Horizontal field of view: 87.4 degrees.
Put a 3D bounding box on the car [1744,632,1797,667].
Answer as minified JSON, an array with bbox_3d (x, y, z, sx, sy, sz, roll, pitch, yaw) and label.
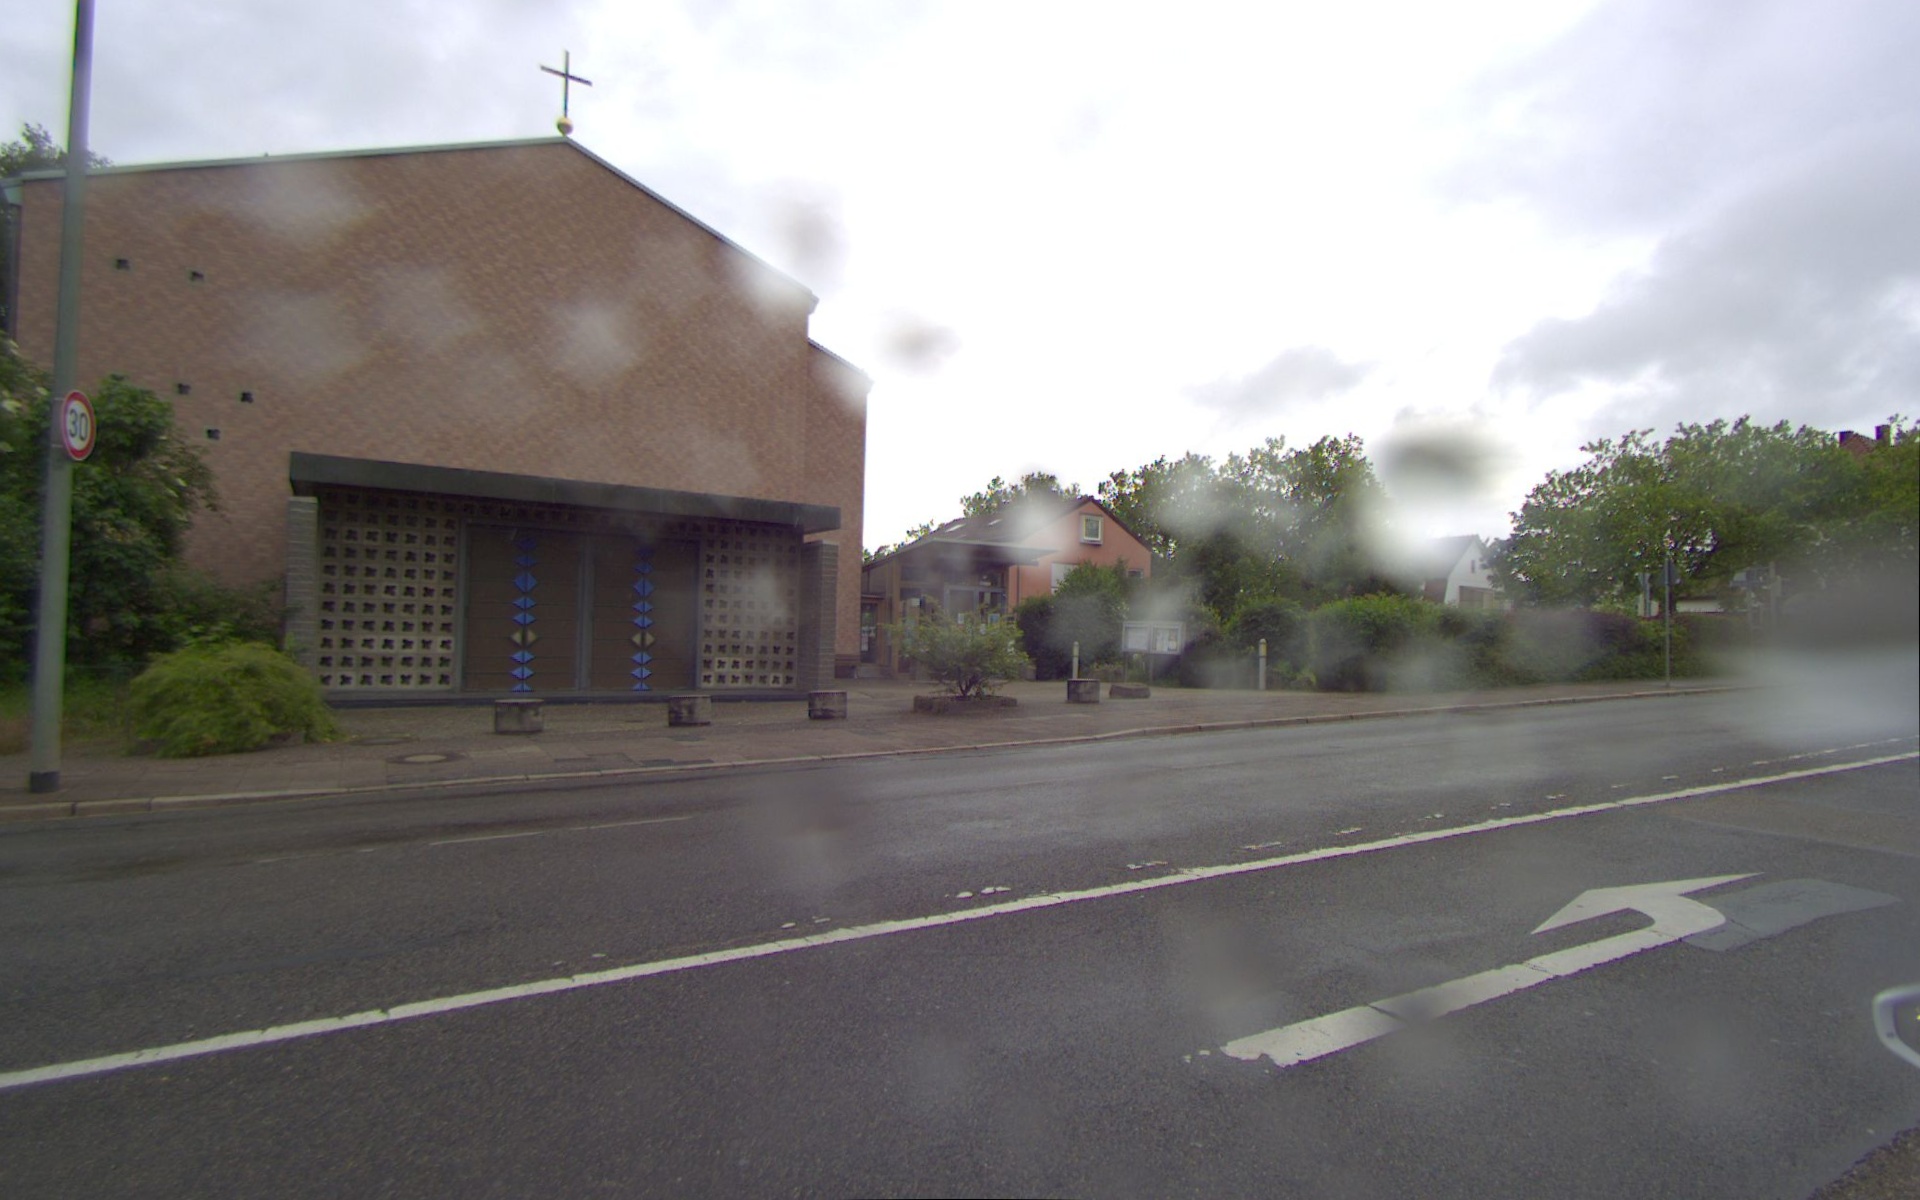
[{"bbox_3d":[40.107,2.415,49.774,1.969,1.572,3.983,0,-1,38],"label":"car"}]
